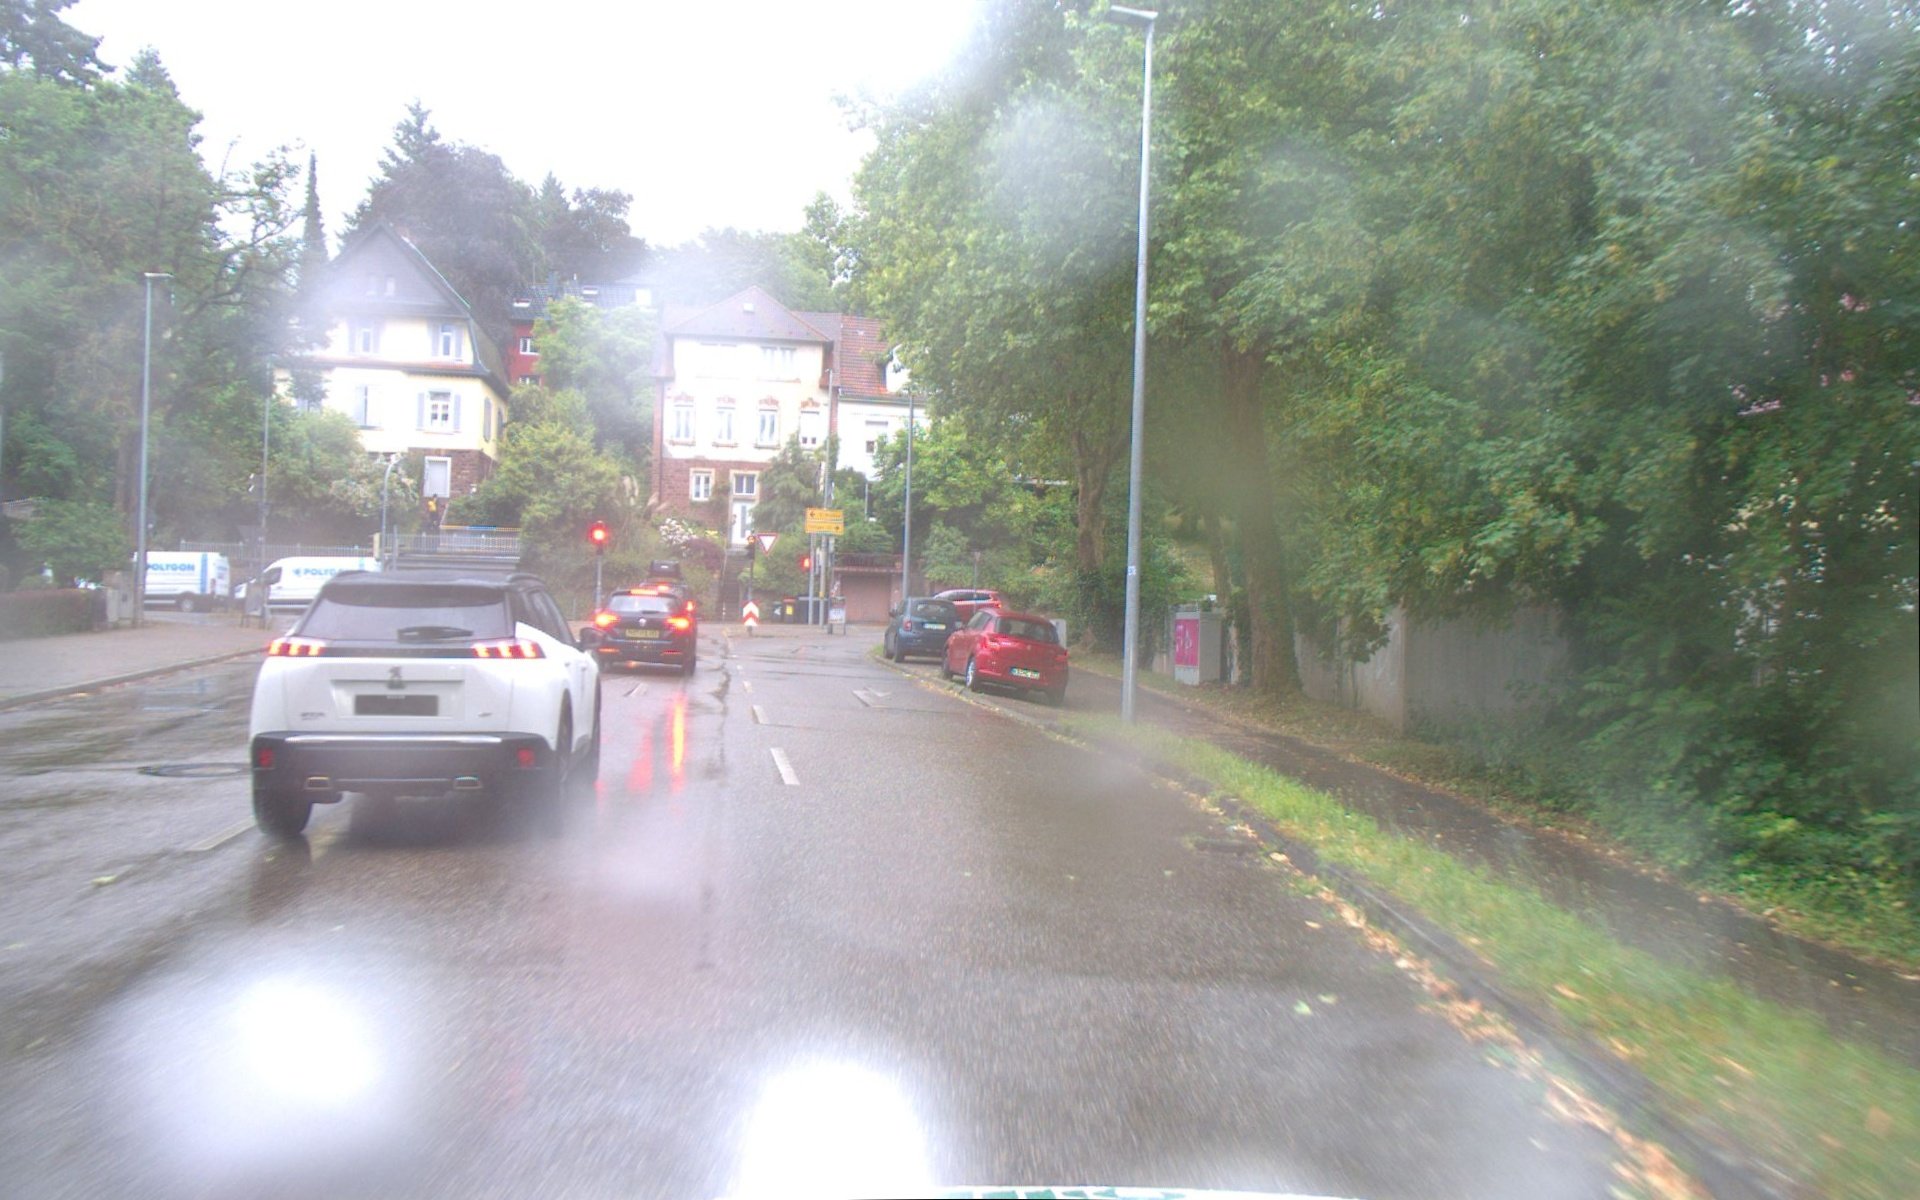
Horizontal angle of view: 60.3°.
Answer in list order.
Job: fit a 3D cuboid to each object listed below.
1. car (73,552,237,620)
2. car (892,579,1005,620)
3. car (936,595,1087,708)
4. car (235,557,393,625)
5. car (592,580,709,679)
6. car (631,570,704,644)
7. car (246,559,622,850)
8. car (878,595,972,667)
[{"bbox_3d":[-32.850,-0.536,67.637,5.457,2.538,2.312,2,-1,-7],"label":"car"},{"bbox_3d":[-0.499,-0.021,67.832,4.481,1.629,1.772,0,-1,-7],"label":"car"},{"bbox_3d":[0.861,0.879,29.987,1.788,1.542,3.734,8,1,-11],"label":"car"},{"bbox_3d":[-26.631,-0.336,68.332,5.553,2.538,2.312,2,-1,-7],"label":"car"},{"bbox_3d":[-5.500,0.463,29.855,1.798,1.481,4.650,4,1,-8],"label":"car"},{"bbox_3d":[-7.638,0.138,43.275,1.728,1.741,4.590,3,1,-10],"label":"car"},{"bbox_3d":[-3.286,0.550,11.159,1.720,1.562,4.359,0,0,-8],"label":"car"},{"bbox_3d":[-0.884,0.705,39.327,1.717,1.517,3.593,4,0,-8],"label":"car"}]
